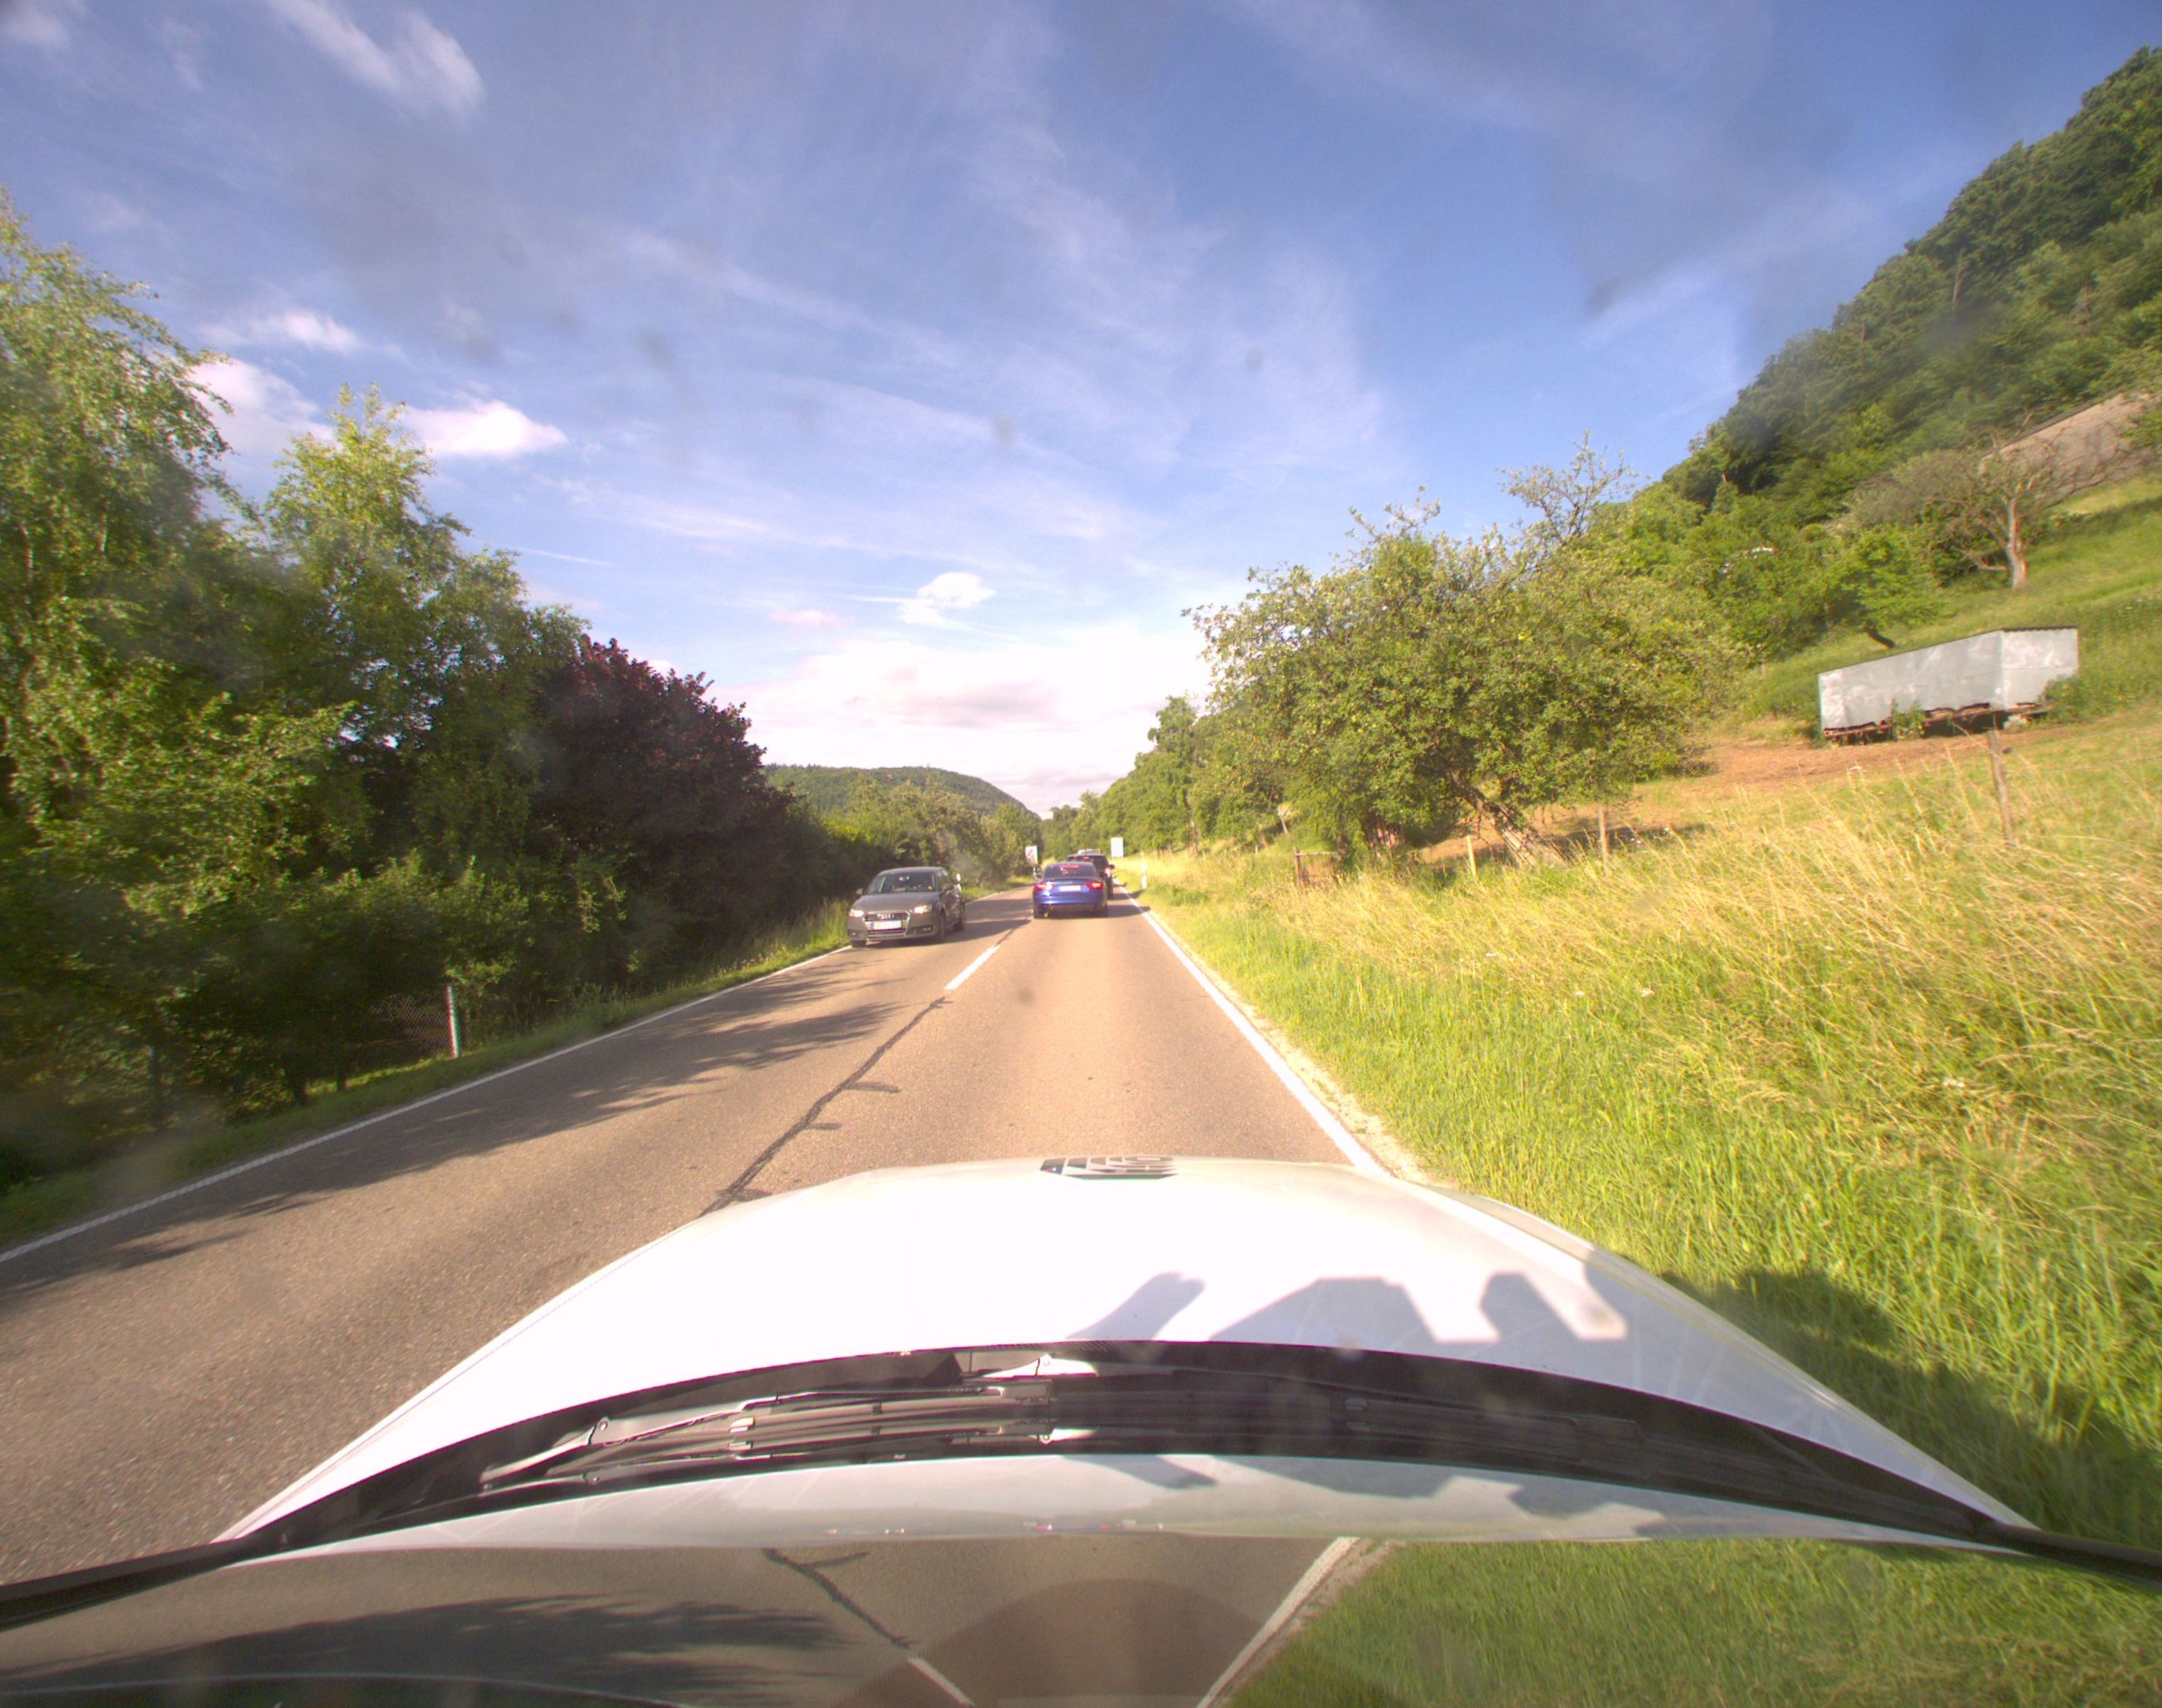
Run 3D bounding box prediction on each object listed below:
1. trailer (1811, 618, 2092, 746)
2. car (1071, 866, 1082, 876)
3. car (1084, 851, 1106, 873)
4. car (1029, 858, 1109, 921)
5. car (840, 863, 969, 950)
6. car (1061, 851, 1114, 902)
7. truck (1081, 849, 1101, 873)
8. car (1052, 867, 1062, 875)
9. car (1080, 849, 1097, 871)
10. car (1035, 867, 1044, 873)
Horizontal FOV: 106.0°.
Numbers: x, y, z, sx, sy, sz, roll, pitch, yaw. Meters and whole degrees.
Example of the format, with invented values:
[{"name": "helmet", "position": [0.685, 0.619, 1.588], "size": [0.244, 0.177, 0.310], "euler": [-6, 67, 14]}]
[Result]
[{"name": "trailer", "position": [24.018, -4.627, 22.872], "size": [2.147, 2.557, 5.242], "euler": [-5, 3, -3]}, {"name": "car", "position": [-0.723, 2.715, 129.674], "size": [1.555, 1.496, 3.775], "euler": [0, 0, -2]}, {"name": "car", "position": [1.108, 0.610, 64.455], "size": [1.687, 1.624, 3.789], "euler": [-2, 0, 0]}, {"name": "car", "position": [-0.234, 0.835, 20.868], "size": [1.799, 1.382, 4.215], "euler": [-2, 0, 1]}, {"name": "car", "position": [-3.337, 0.932, 16.089], "size": [1.622, 1.415, 3.789], "euler": [-3, 0, 0]}, {"name": "car", "position": [0.227, 0.738, 28.470], "size": [1.687, 1.624, 3.789], "euler": [-2, 0, 0]}, {"name": "truck", "position": [0.955, 0.714, 82.062], "size": [1.944, 2.345, 5.092], "euler": [0, 0, 0]}, {"name": "car", "position": [-4.674, 3.244, 158.392], "size": [1.558, 1.496, 3.767], "euler": [0, 0, -8]}, {"name": "car", "position": [0.808, 0.700, 92.638], "size": [1.788, 2.453, 3.915], "euler": [0, 0, -2]}, {"name": "car", "position": [-9.597, 3.653, 186.610], "size": [1.560, 1.496, 3.762], "euler": [0, 0, -12]}]
